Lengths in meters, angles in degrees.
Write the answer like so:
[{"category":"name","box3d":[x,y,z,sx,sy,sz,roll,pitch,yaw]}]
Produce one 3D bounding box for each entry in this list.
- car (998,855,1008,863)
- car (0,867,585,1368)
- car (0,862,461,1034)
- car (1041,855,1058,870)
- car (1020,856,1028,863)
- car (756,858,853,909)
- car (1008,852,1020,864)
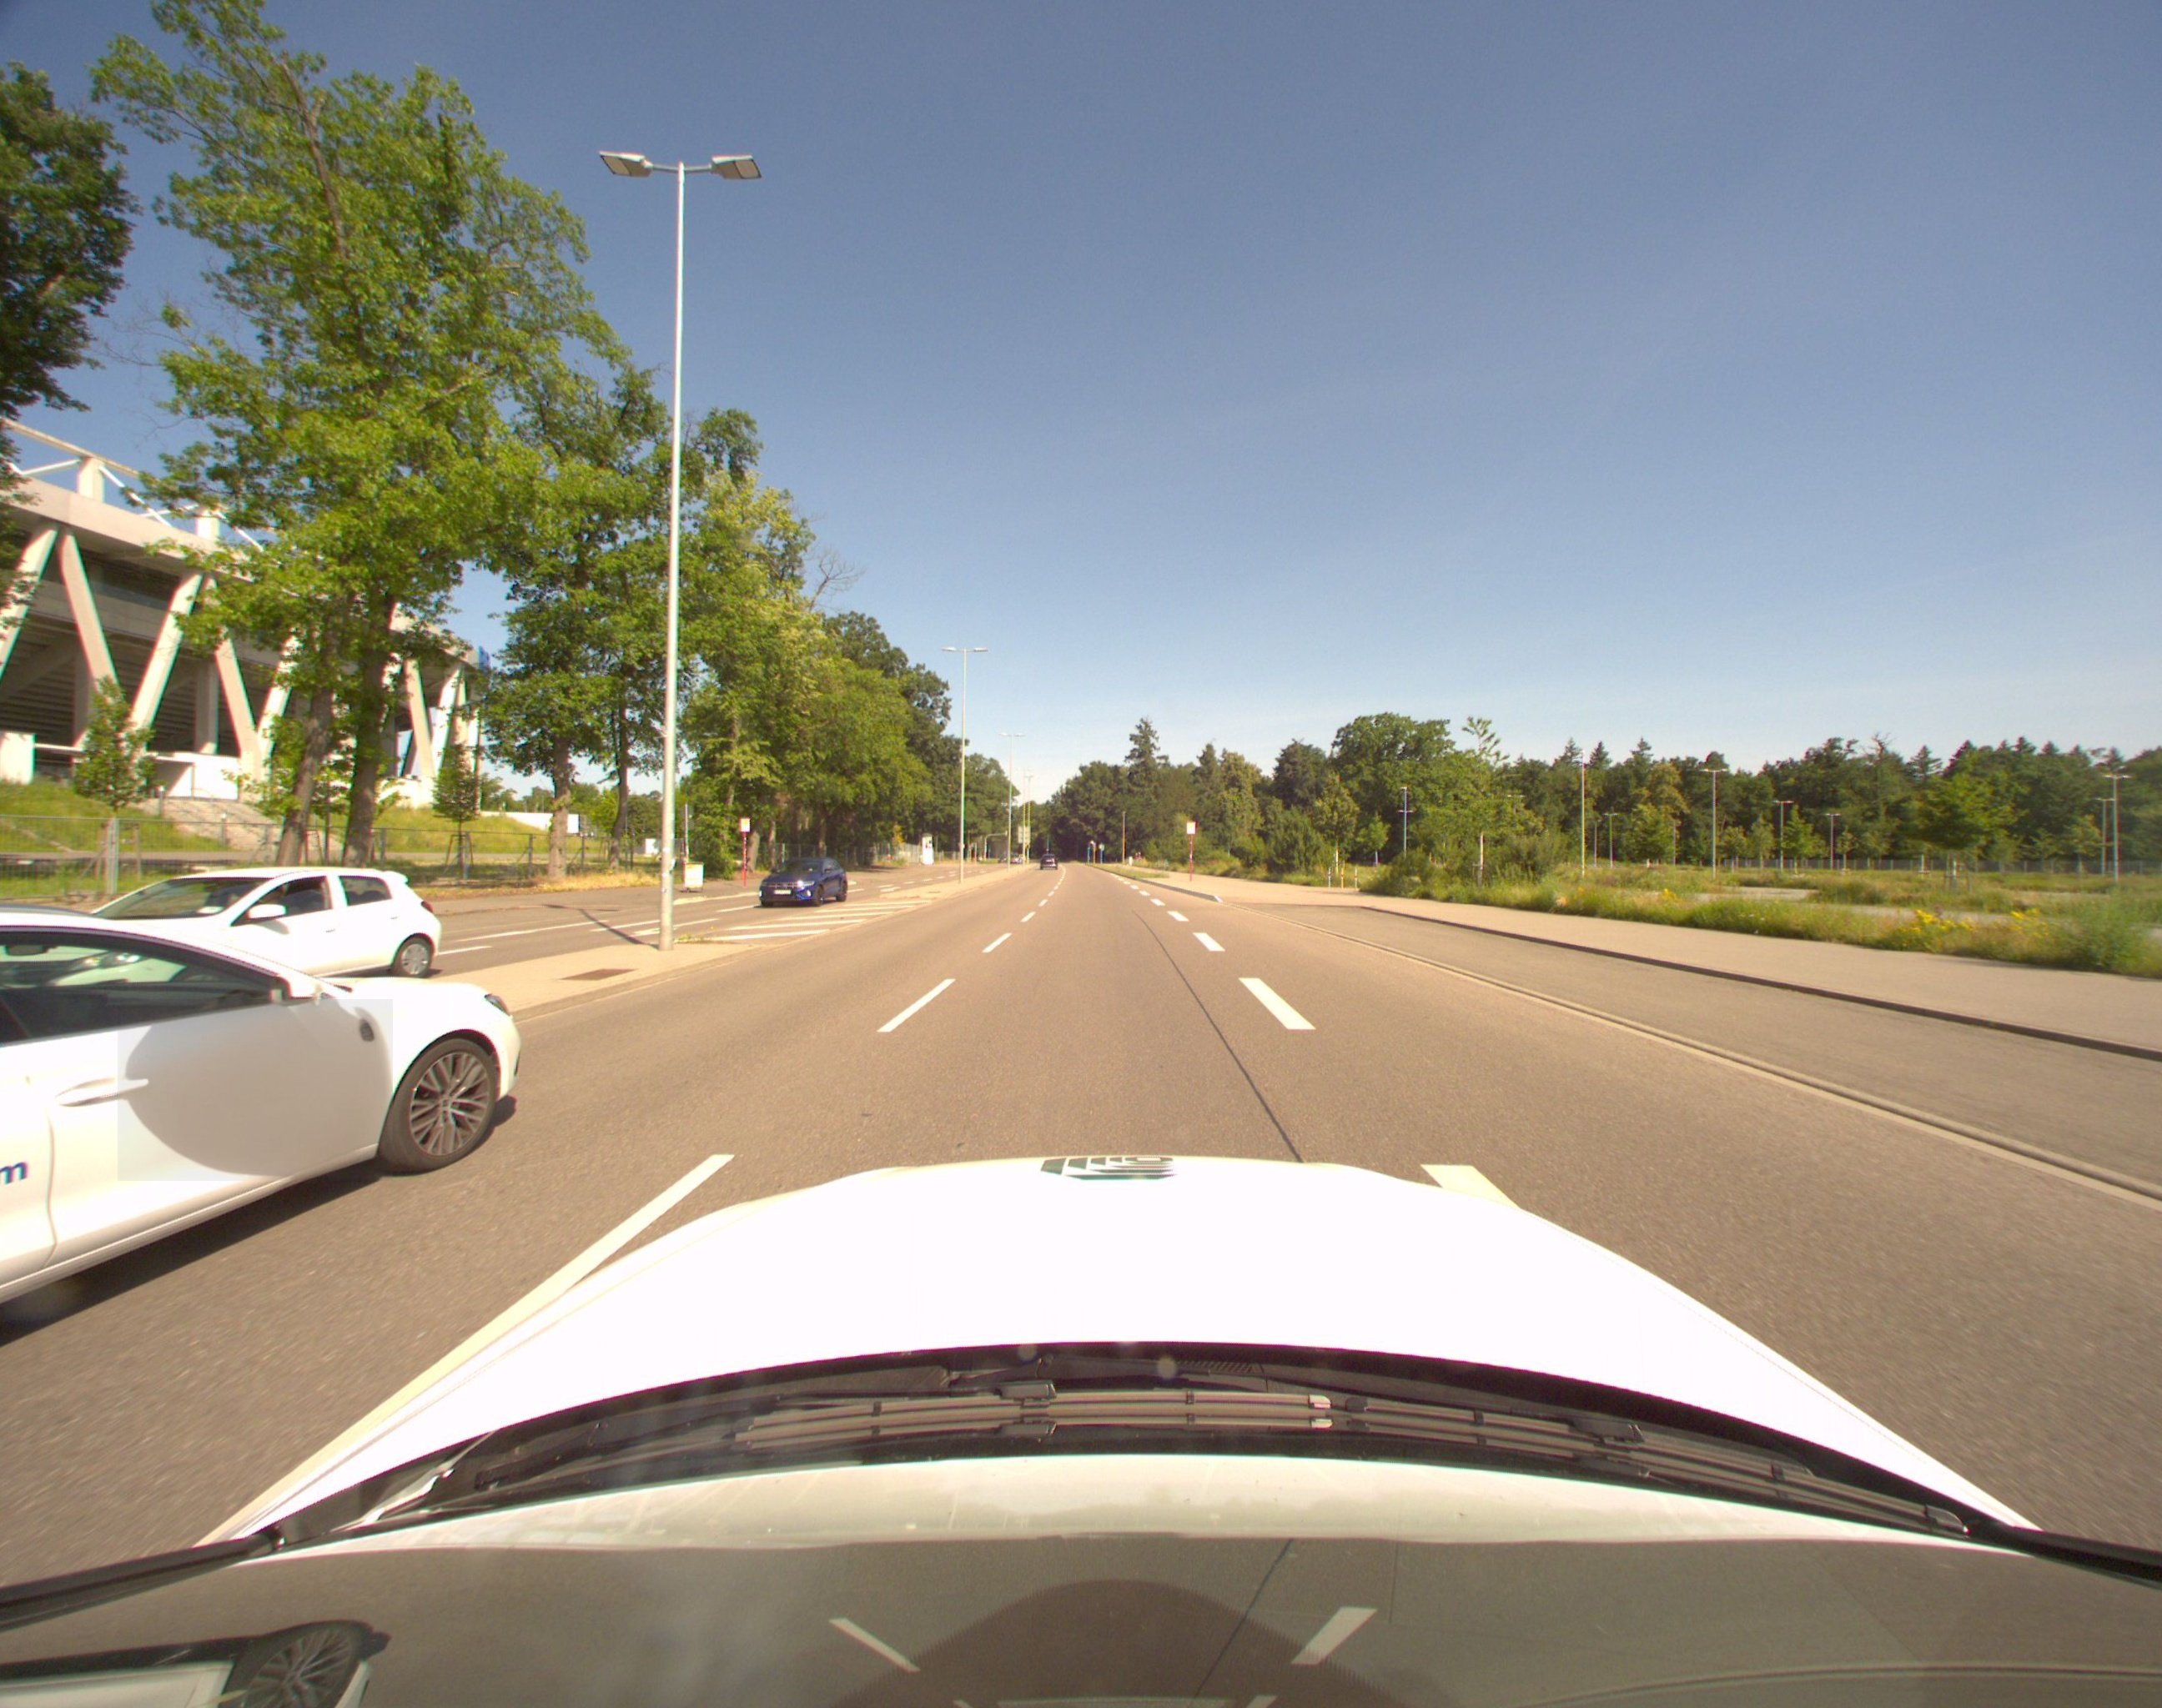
[{"category":"car","box3d":[-15.693,0.943,163.819,1.790,1.478,3.994,1,0,-4]},{"category":"car","box3d":[-4.042,0.811,2.726,1.718,1.427,4.722,-1,0,2]},{"category":"car","box3d":[-9.268,0.860,9.129,1.617,1.466,3.801,-2,0,1]},{"category":"car","box3d":[-3.309,0.849,85.592,1.684,1.544,4.144,0,0,-3]},{"category":"car","box3d":[-13.462,1.201,191.387,1.842,1.618,3.995,1,0,-3]},{"category":"car","box3d":[-8.913,0.909,26.620,1.747,1.486,3.947,-1,0,1]},{"category":"car","box3d":[-11.581,0.707,140.984,1.836,1.932,4.626,0,0,-2]}]
